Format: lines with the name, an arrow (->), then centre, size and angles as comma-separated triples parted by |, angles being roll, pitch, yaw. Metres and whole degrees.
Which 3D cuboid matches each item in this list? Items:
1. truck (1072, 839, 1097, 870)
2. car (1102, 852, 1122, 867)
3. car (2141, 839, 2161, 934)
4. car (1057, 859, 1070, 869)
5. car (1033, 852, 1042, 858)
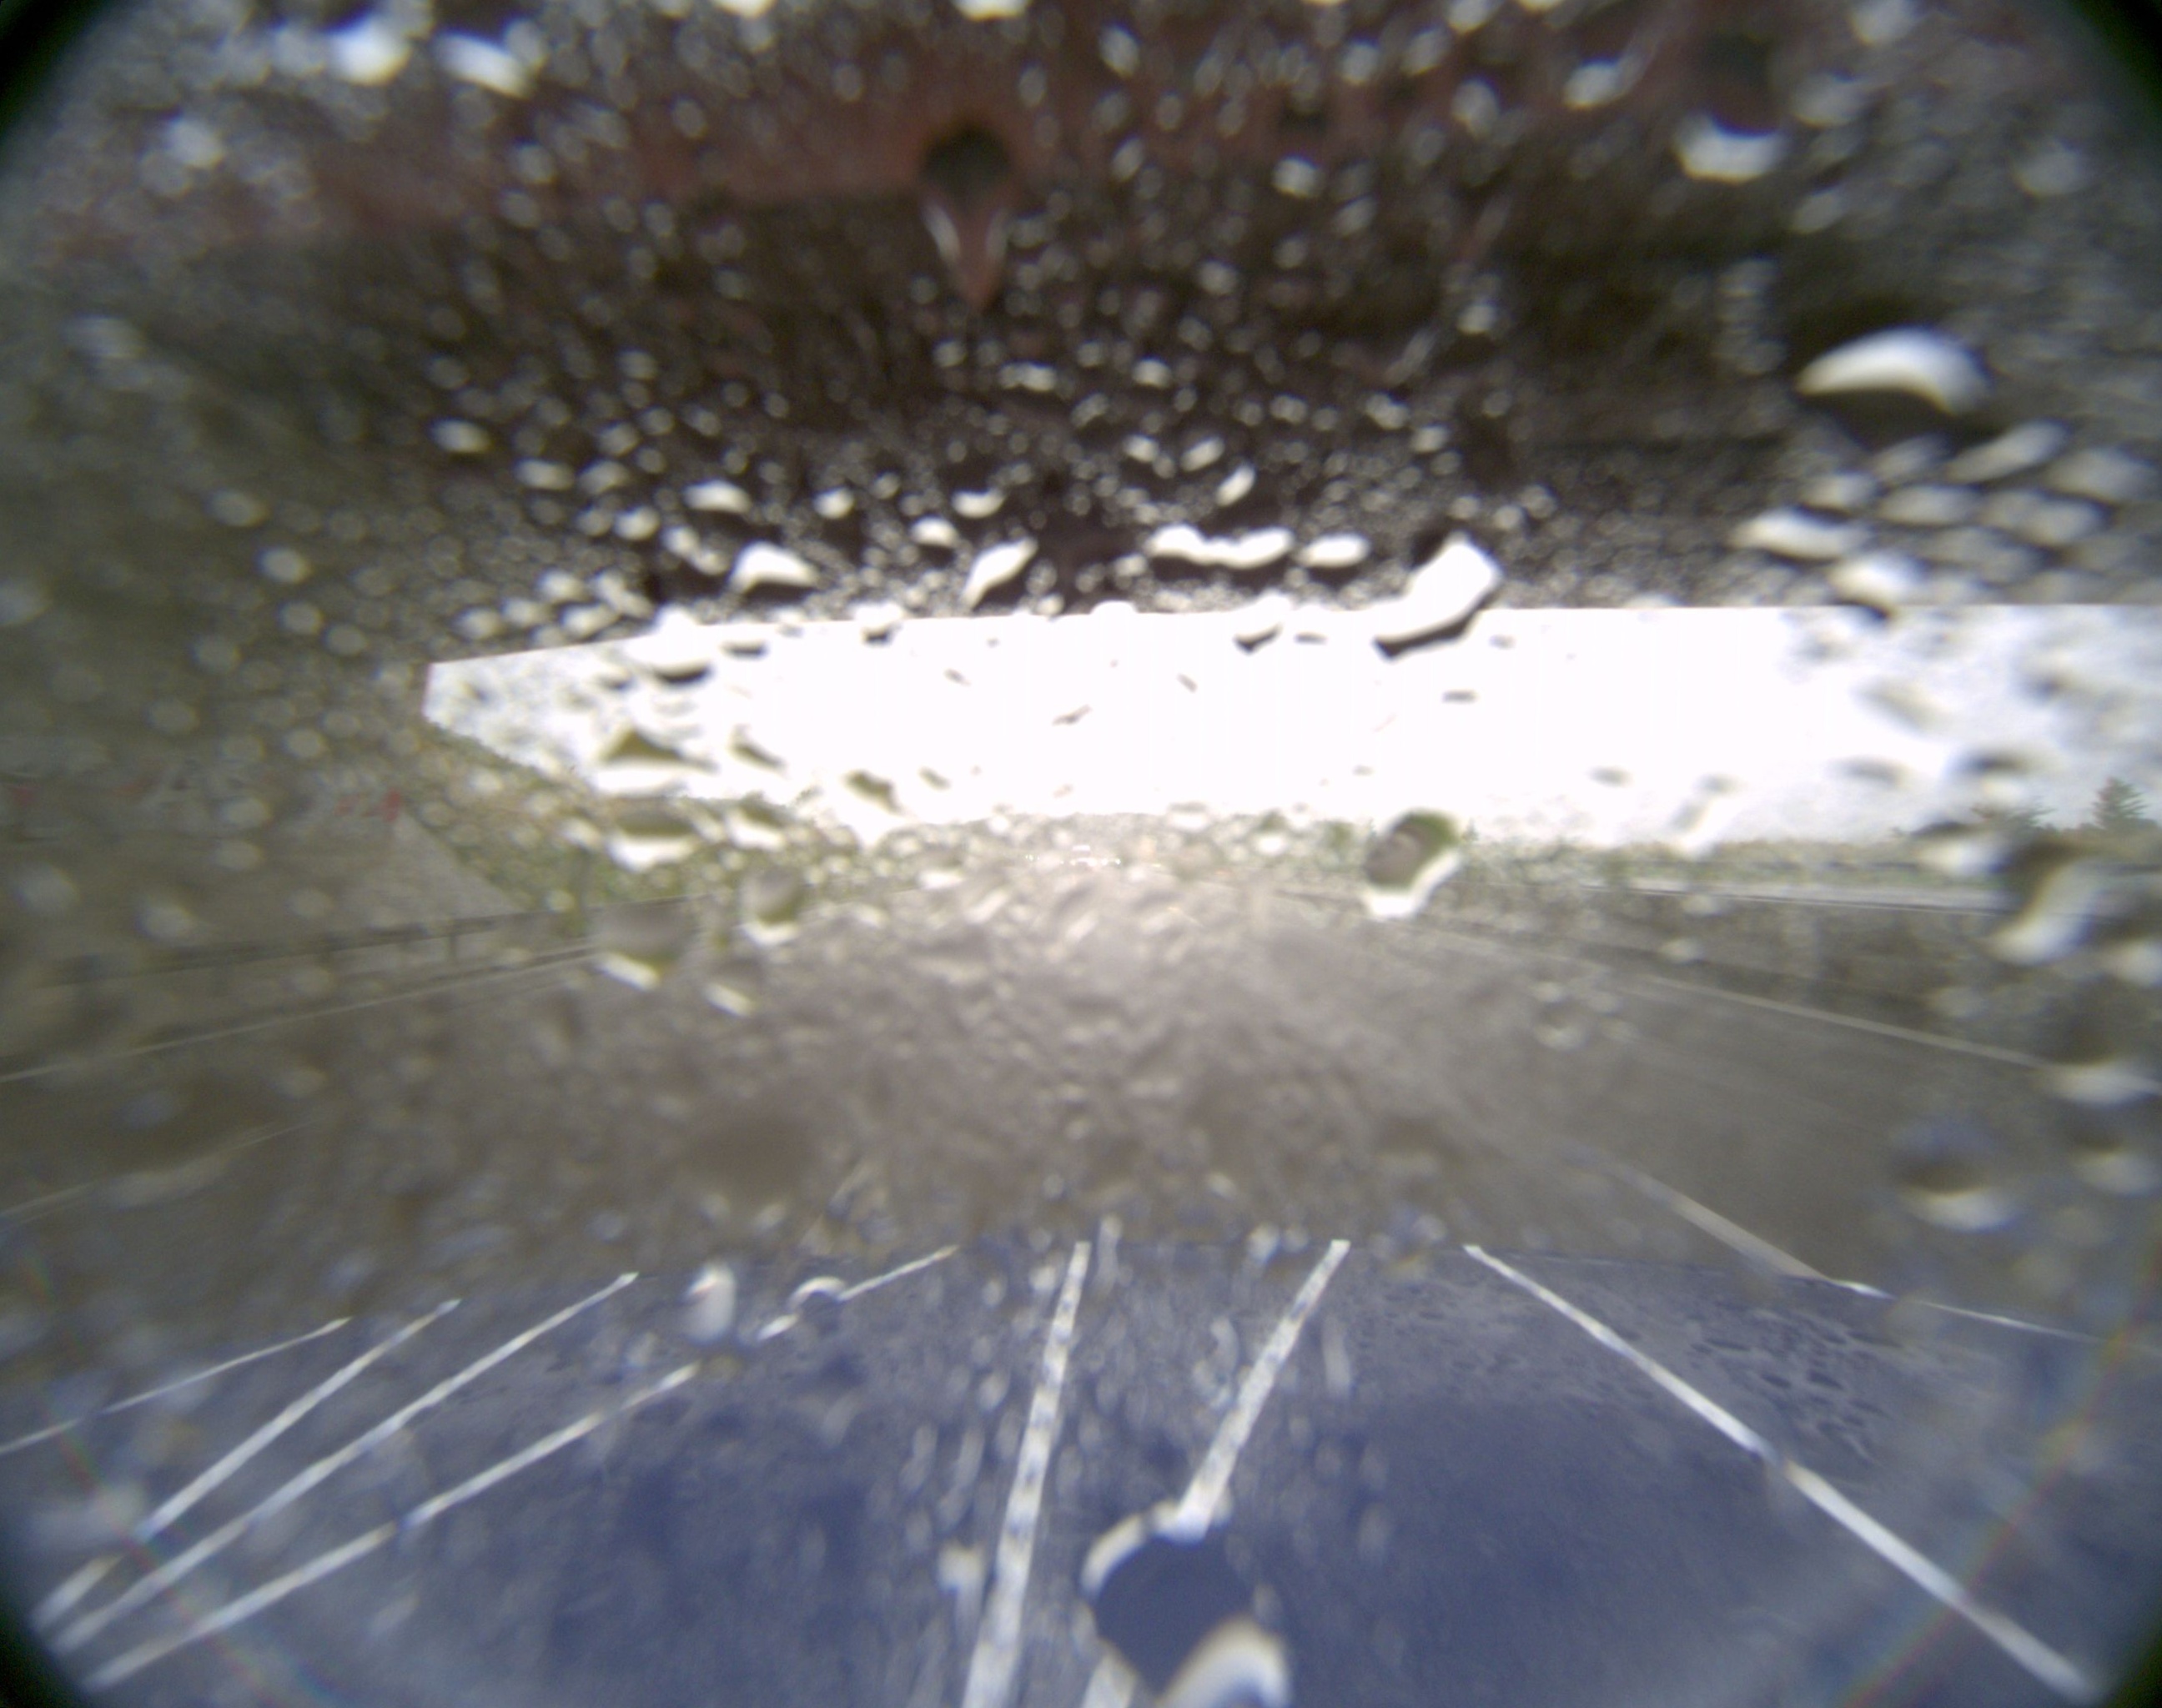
truck -> 0.247, -0.030, 74.124 | 1.999, 2.699, 7.996 | -2, 1, -2
car -> 3.489, 0.634, 85.900 | 1.999, 1.608, 3.999 | -2, 0, -2
car -> 15.898, 0.433, 8.728 | 1.883, 1.324, 4.000 | -2, 0, 1
car -> -2.846, 1.636, 124.415 | 1.998, 1.521, 4.000 | -2, 0, 0
car -> -11.571, 0.352, 203.972 | 1.998, 1.543, 4.001 | -2, 0, 3
